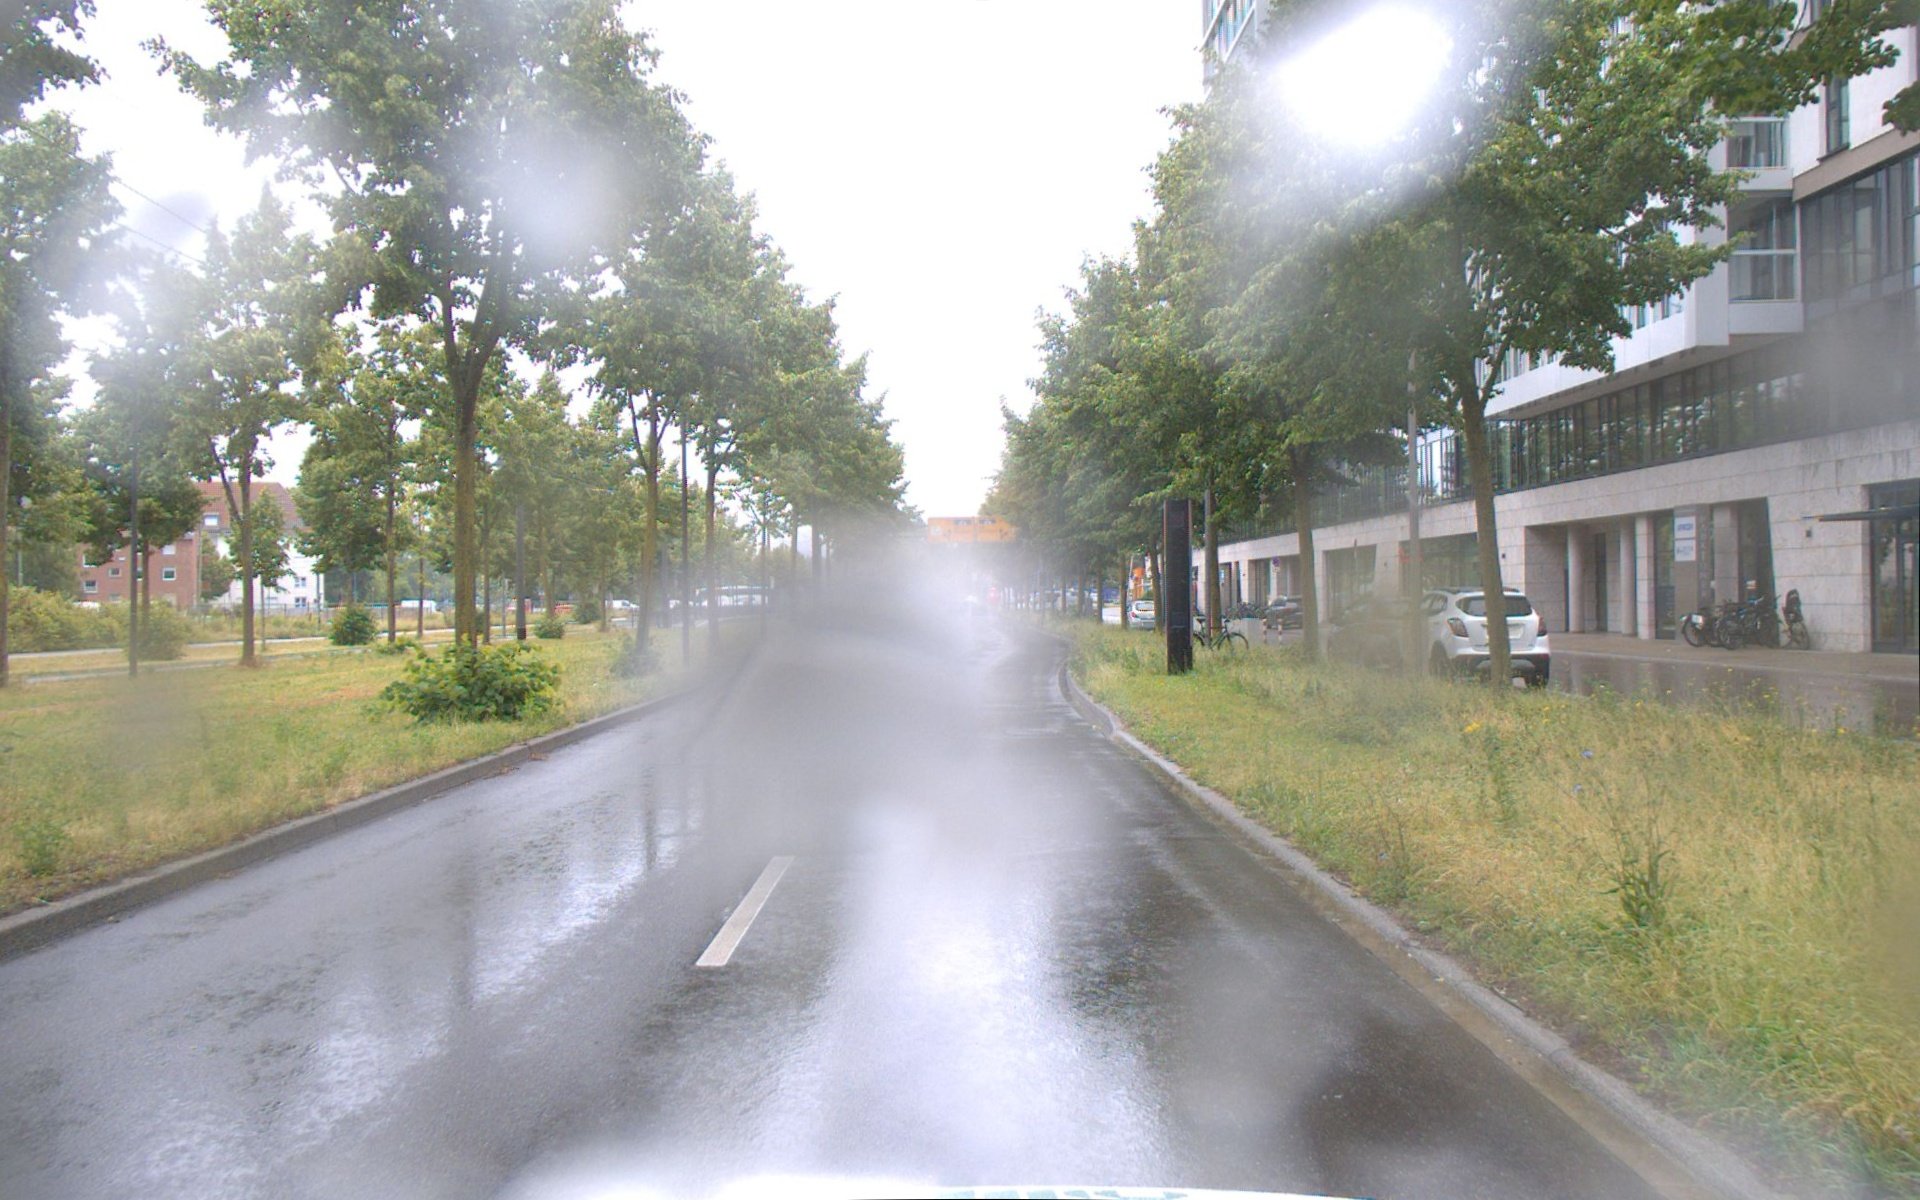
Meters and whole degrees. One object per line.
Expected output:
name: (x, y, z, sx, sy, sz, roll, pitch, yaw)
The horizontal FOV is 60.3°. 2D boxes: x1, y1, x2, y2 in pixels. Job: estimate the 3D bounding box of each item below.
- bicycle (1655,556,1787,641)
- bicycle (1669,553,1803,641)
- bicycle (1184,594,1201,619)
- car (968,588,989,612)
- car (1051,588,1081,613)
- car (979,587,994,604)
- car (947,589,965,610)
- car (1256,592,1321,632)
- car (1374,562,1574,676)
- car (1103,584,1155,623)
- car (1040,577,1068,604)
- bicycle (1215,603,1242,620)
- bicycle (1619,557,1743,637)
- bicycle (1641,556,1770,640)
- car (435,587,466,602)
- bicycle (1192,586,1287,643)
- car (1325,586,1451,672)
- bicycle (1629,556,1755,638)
bicycle: (17.364, -0.033, 37.770, 2.623, 1.893, 0.707, -1, 0, 4)
bicycle: (17.343, -0.064, 37.003, 2.623, 1.893, 0.707, -1, 0, 4)
bicycle: (17.366, 0.481, 123.392, 0.756, 1.752, 3.120, -1, 2, -1)
car: (1.710, -0.023, 153.487, 1.901, 2.048, 4.001, -1, 2, 0)
car: (7.863, 0.049, 123.257, 1.867, 1.822, 4.687, -1, 0, -1)
car: (3.374, -0.558, 210.401, 1.952, 2.048, 4.001, -1, 2, 1)
car: (-0.415, -0.043, 176.843, 1.849, 2.048, 4.001, -1, 2, 0)
car: (14.925, 0.526, 75.429, 1.953, 1.527, 5.035, -5, 1, 1)
car: (8.697, 0.248, 28.451, 1.953, 1.698, 4.724, -1, 2, 0)
car: (7.542, 0.119, 74.256, 1.843, 1.532, 4.724, -1, 2, 0)
car: (8.008, -0.793, 141.808, 2.078, 2.314, 4.564, -1, 0, -1)
bicycle: (17.191, 0.745, 105.758, 1.658, 1.046, 0.423, -1, -1, 2)
bicycle: (17.460, -0.072, 40.090, 2.623, 1.893, 0.707, -1, 0, 4)
bicycle: (17.363, -0.048, 38.554, 2.623, 1.893, 0.707, -1, 0, 4)
car: (-63.214, -0.655, 205.379, 3.486, 1.769, 1.693, -2, 2, -25)
bicycle: (6.175, 0.318, 36.608, 1.993, 1.217, 0.491, -1, -1, -1)
car: (8.579, 0.535, 33.403, 1.592, 1.516, 3.656, -1, 2, 0)
bicycle: (17.403, -0.072, 39.344, 2.623, 1.893, 0.707, -1, 0, 4)
